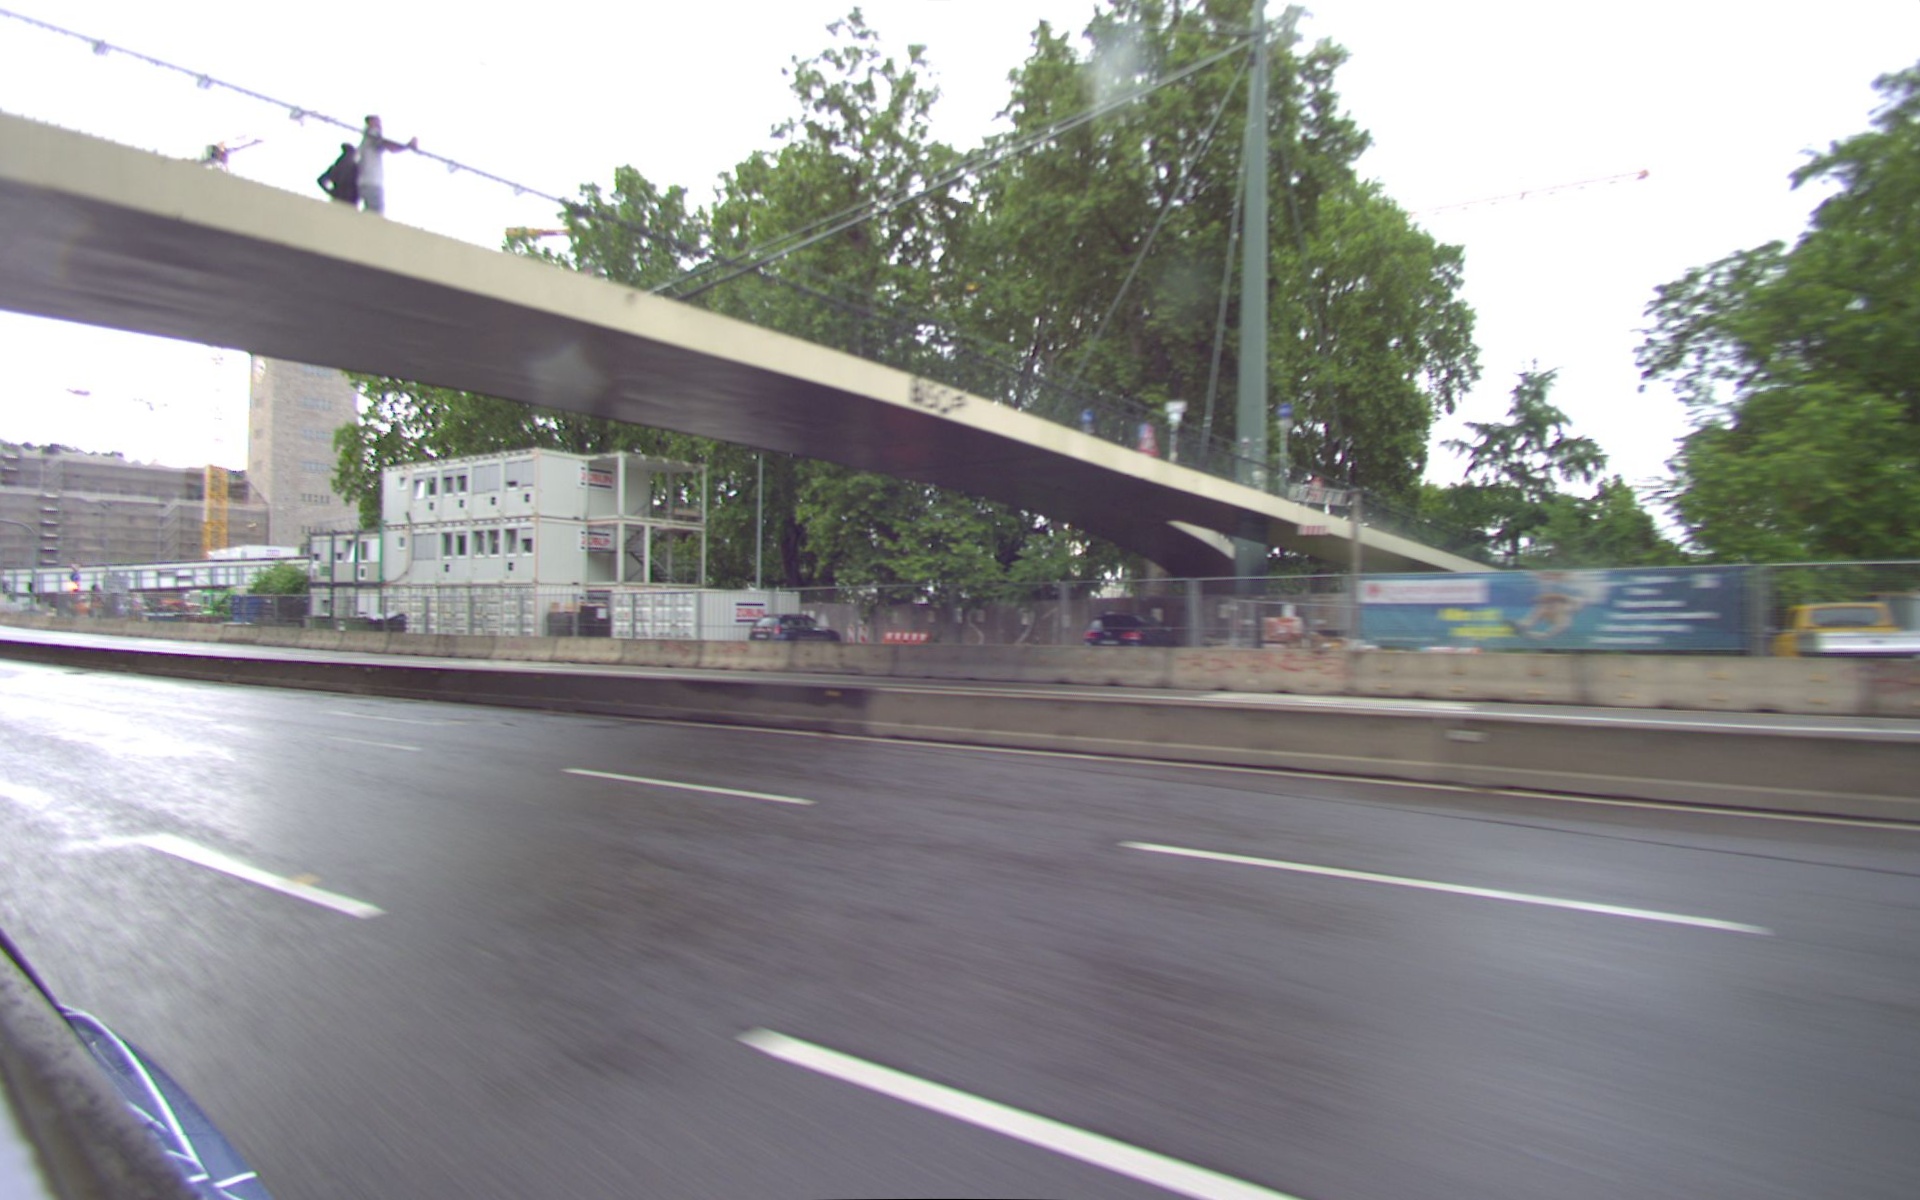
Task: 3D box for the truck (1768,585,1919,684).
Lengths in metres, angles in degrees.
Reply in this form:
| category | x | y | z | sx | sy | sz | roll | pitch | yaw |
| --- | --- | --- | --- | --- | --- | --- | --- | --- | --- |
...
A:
| category | x | y | z | sx | sy | sz | roll | pitch | yaw |
| --- | --- | --- | --- | --- | --- | --- | --- | --- | --- |
| truck | 20.683 | 0.800 | 23.440 | 2.154 | 2.029 | 5.212 | 0 | -2 | 29 |

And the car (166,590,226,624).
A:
| category | x | y | z | sx | sy | sz | roll | pitch | yaw |
| --- | --- | --- | --- | --- | --- | --- | --- | --- | --- |
| car | -71.672 | 0.655 | 94.930 | 6.145 | 3.089 | 2.258 | 1 | -2 | 30 |

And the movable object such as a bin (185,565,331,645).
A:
| category | x | y | z | sx | sy | sz | roll | pitch | yaw |
| --- | --- | --- | --- | --- | --- | --- | --- | --- | --- |
| movable object such as a bin | -45.293 | 0.366 | 65.278 | 8.331 | 4.839 | 4.714 | 0 | -2 | 32 |

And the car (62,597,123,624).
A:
| category | x | y | z | sx | sy | sz | roll | pitch | yaw |
| --- | --- | --- | --- | --- | --- | --- | --- | --- | --- |
| car | -73.765 | 0.857 | 86.012 | 5.556 | 2.117 | 1.981 | 1 | -3 | 28 |

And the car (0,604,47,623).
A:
| category | x | y | z | sx | sy | sz | roll | pitch | yaw |
| --- | --- | --- | --- | --- | --- | --- | --- | --- | --- |
| car | -104.965 | 1.514 | 112.455 | 4.950 | 2.029 | 2.002 | 1 | -2 | -5 |

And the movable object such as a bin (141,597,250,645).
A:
| category | x | y | z | sx | sy | sz | roll | pitch | yaw |
| --- | --- | --- | --- | --- | --- | --- | --- | --- | --- |
| movable object such as a bin | -52.913 | 1.436 | 70.059 | 6.366 | 3.152 | 3.903 | 1 | -2 | 31 |

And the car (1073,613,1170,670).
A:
| category | x | y | z | sx | sy | sz | roll | pitch | yaw |
| --- | --- | --- | --- | --- | --- | --- | --- | --- | --- |
| car | 5.197 | 1.293 | 32.096 | 1.947 | 1.640 | 4.401 | 0 | -2 | 24 |

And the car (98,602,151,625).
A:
| category | x | y | z | sx | sy | sz | roll | pitch | yaw |
| --- | --- | --- | --- | --- | --- | --- | --- | --- | --- |
| car | -68.626 | 1.087 | 83.093 | 4.780 | 1.775 | 1.831 | 1 | -2 | 31 |

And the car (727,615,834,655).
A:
| category | x | y | z | sx | sy | sz | roll | pitch | yaw |
| --- | --- | --- | --- | --- | --- | --- | --- | --- | --- |
| car | -6.986 | 1.379 | 39.738 | 1.994 | 1.454 | 3.956 | 0 | -2 | 32 |

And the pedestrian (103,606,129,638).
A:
| category | x | y | z | sx | sy | sz | roll | pitch | yaw |
| --- | --- | --- | --- | --- | --- | --- | --- | --- | --- |
| pedestrian | -54.890 | 1.414 | 65.806 | 1.174 | 2.029 | 1.167 | 0 | 0 | 43 |
